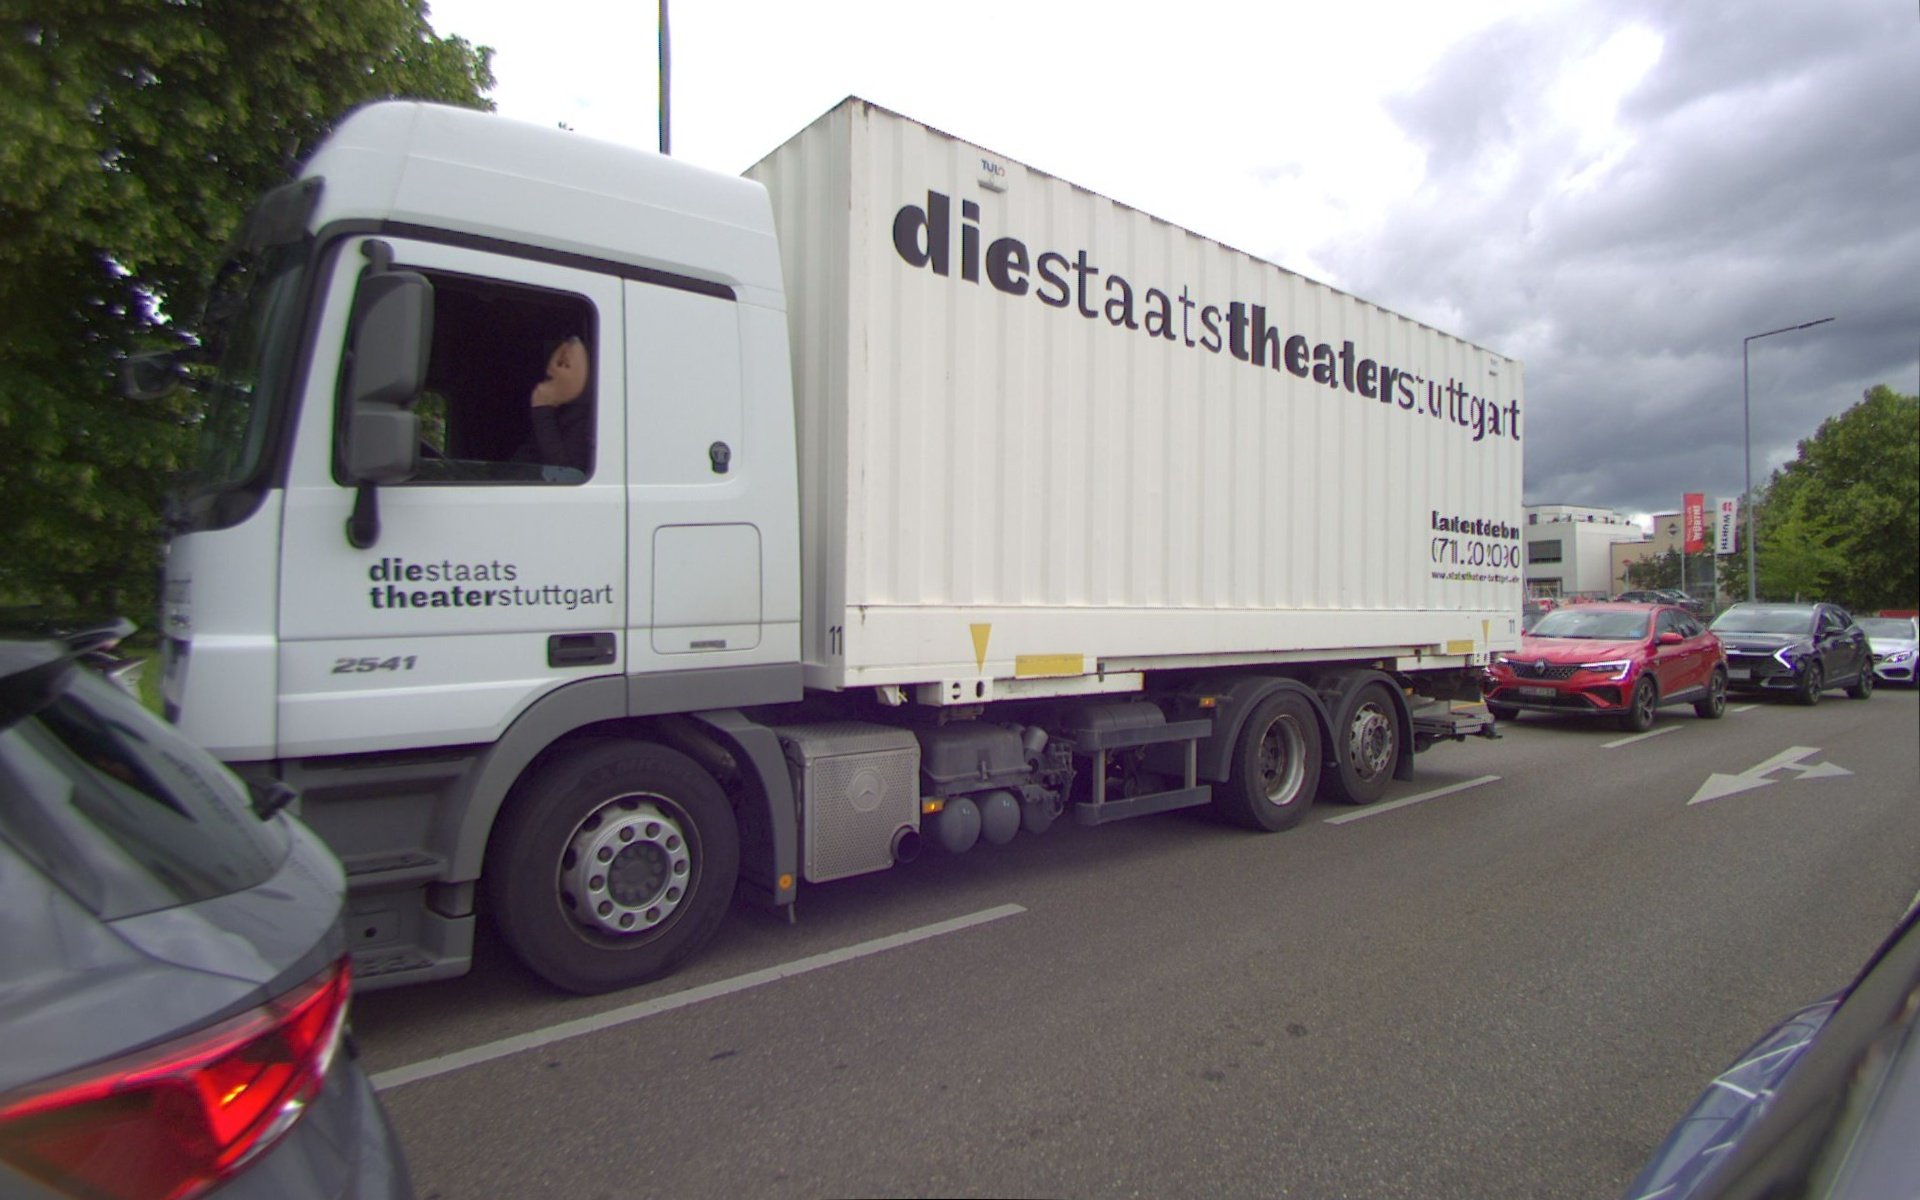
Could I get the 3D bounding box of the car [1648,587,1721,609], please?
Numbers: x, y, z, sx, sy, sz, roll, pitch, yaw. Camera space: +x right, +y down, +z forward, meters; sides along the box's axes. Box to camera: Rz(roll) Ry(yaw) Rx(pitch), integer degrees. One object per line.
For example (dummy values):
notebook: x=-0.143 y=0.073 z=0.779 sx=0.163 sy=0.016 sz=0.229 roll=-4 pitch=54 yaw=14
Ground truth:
car: x=50.371 y=-0.093 z=70.457 sx=1.720 sy=1.382 sz=3.769 roll=3 pitch=-3 yaw=-31

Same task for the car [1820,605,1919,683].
car: x=19.696 y=0.869 z=21.181 sx=4.405 sy=1.466 sz=1.676 roll=1 pitch=-1 yaw=-37

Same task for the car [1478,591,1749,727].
car: x=8.807 y=0.676 z=13.514 sx=4.239 sy=1.543 sz=1.712 roll=0 pitch=0 yaw=-37

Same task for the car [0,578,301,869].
car: x=-5.901 y=0.634 z=5.572 sx=3.620 sy=1.515 sz=1.644 roll=0 pitch=1 yaw=-41

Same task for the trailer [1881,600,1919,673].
trailer: x=22.751 y=0.839 z=23.521 sx=3.241 sy=1.614 sz=1.413 roll=1 pitch=-1 yaw=-37

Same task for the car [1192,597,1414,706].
car: x=5.338 y=0.726 z=15.556 sx=3.623 sy=1.476 sz=1.626 roll=1 pitch=-1 yaw=-41

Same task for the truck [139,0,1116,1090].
truck: x=-1.541 y=-0.487 z=5.161 sx=4.032 sy=3.753 sz=2.576 roll=1 pitch=-1 yaw=-39

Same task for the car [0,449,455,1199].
car: x=-2.596 y=0.619 z=0.504 sx=3.929 sy=1.505 sz=1.702 roll=0 pitch=0 yaw=-40

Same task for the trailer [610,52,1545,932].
trailer: x=1.578 y=-0.451 z=7.753 sx=7.625 sy=3.752 sz=2.571 roll=1 pitch=0 yaw=-40

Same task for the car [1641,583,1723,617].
car: x=44.316 y=0.033 z=62.185 sx=1.610 sy=1.984 sz=3.769 roll=3 pitch=-3 yaw=-31

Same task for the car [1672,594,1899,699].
car: x=14.134 y=0.709 z=17.261 sx=4.319 sy=1.581 sz=1.851 roll=0 pitch=0 yaw=-34
